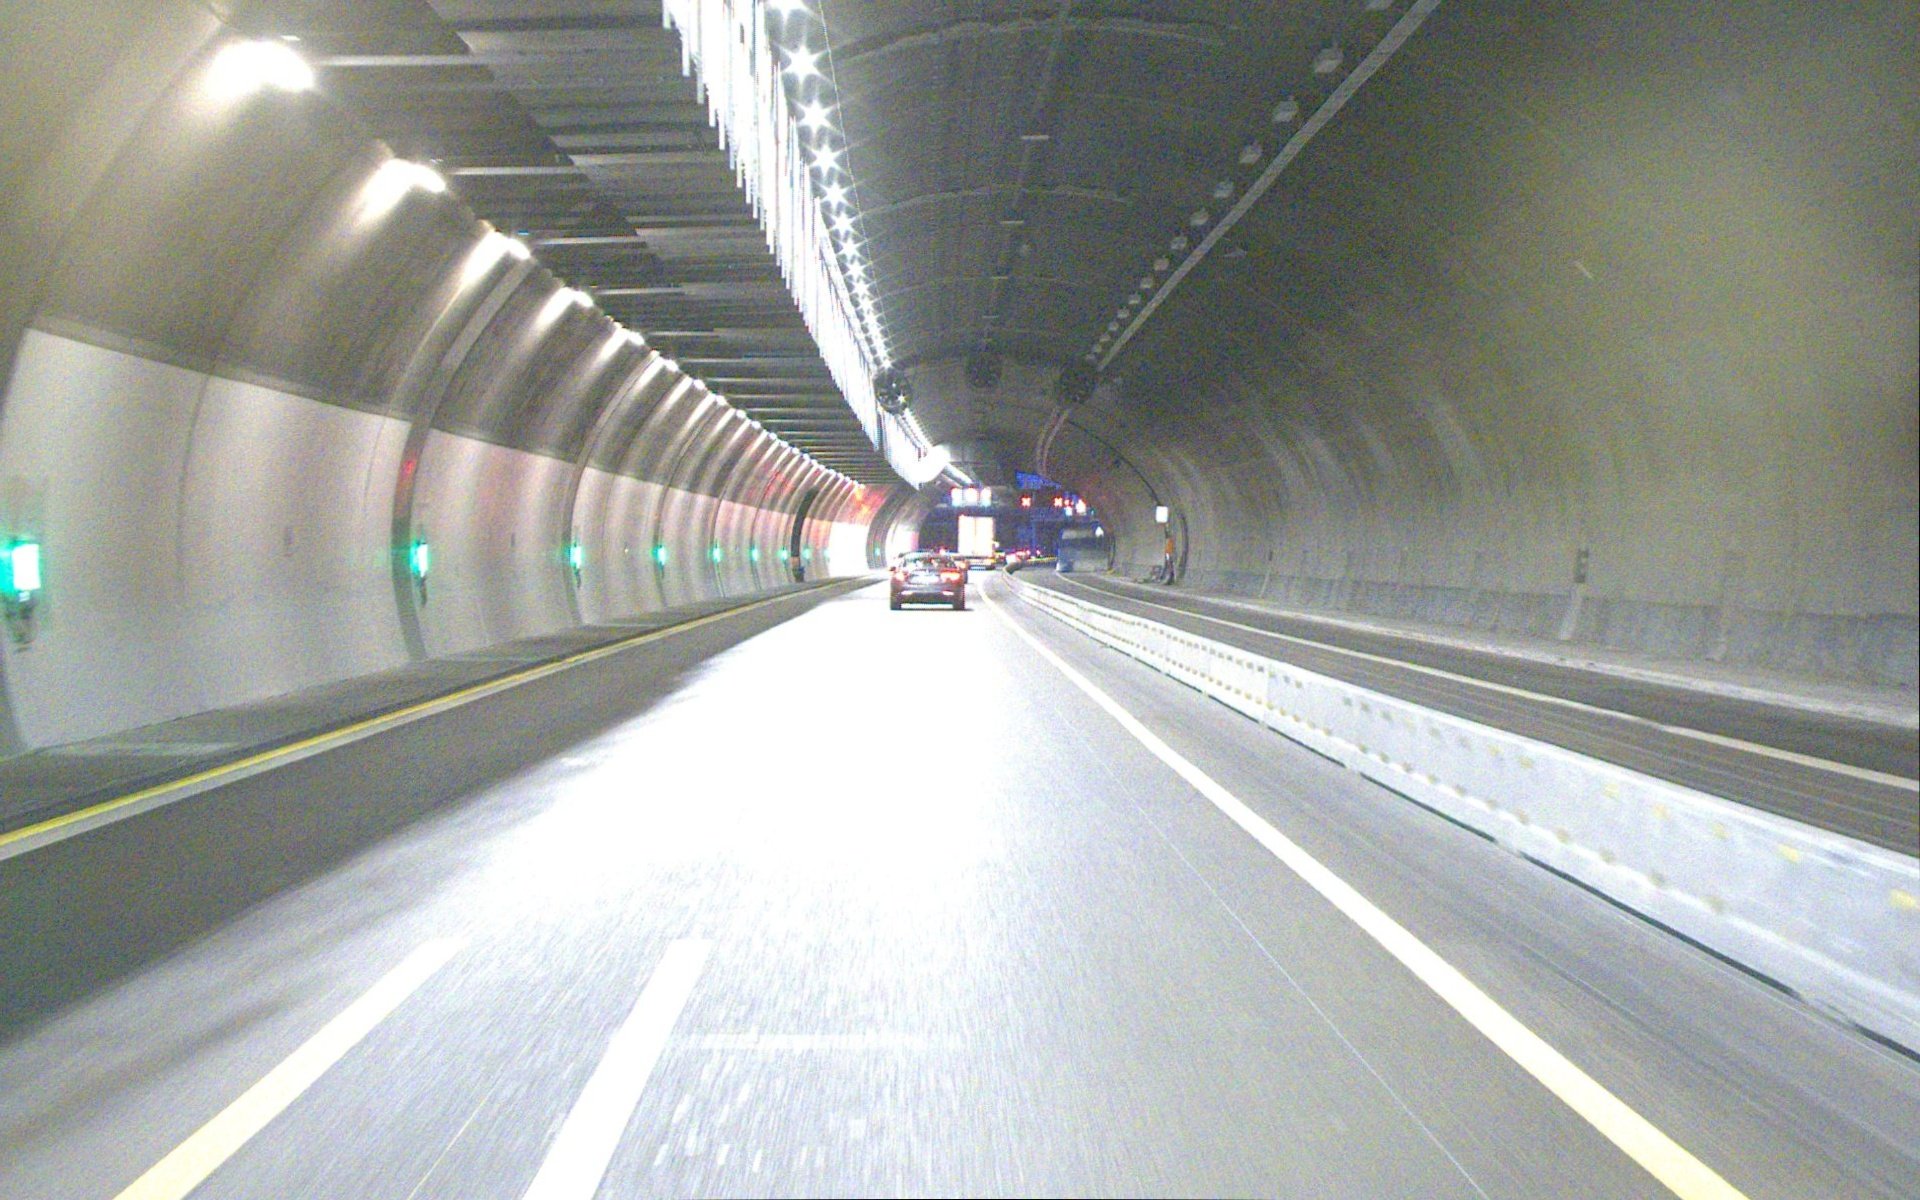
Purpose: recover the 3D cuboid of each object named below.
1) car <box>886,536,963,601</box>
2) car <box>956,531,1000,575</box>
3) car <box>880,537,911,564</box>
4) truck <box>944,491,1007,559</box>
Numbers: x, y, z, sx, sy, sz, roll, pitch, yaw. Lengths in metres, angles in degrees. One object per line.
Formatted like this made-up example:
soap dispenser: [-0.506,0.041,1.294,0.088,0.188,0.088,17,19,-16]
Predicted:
car: [-0.908,-0.801,86.891,1.887,1.601,4.000,1,1,-1]
car: [0.809,-2.194,158.948,1.993,2.007,4.000,0,1,0]
car: [-3.838,-2.956,205.446,1.827,1.601,4.000,1,1,-1]
truck: [1.209,-5.670,261.851,4.546,4.970,9.599,1,1,1]
